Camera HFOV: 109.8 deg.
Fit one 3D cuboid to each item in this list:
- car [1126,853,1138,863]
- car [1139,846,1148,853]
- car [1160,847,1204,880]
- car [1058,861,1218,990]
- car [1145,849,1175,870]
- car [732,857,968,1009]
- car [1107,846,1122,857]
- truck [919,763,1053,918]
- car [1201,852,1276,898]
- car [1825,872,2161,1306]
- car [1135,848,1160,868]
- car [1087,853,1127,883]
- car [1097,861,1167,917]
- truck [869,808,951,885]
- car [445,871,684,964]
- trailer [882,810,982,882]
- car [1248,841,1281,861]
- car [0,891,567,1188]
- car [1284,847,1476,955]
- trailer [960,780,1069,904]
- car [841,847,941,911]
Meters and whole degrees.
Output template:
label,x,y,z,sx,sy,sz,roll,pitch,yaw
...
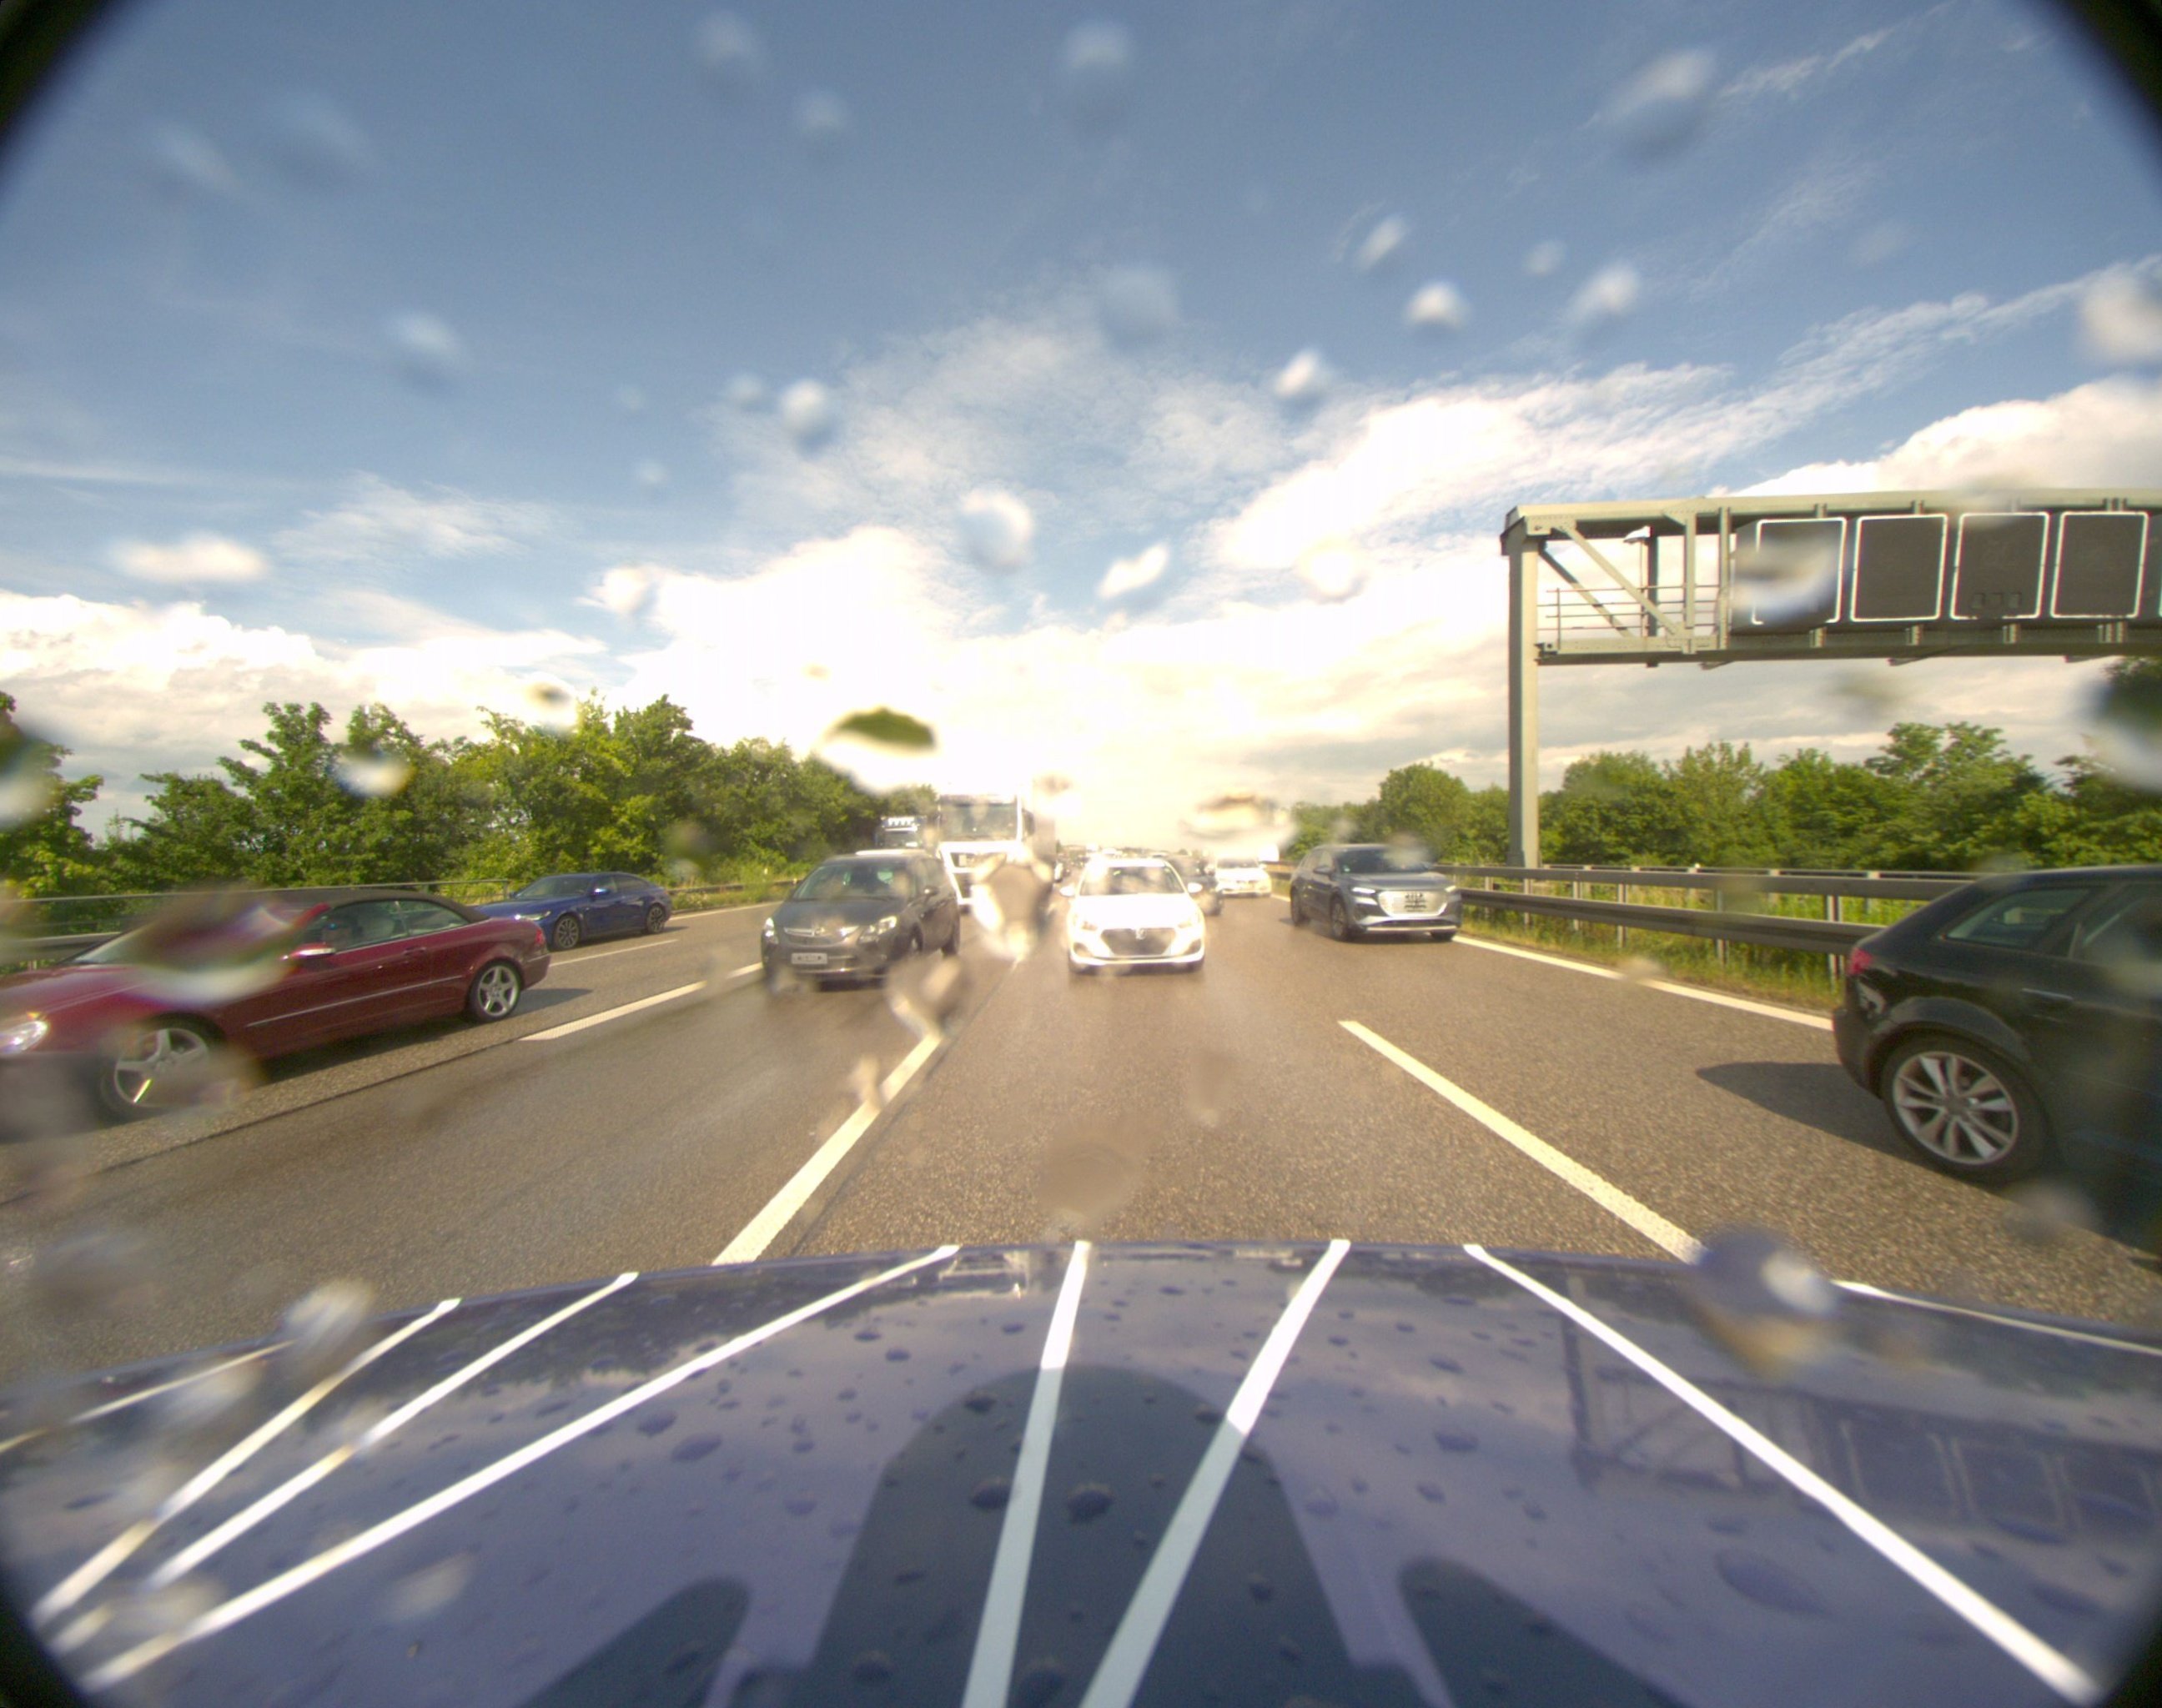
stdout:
label,x,y,z,sx,sy,sz,roll,pitch,yaw
car,9.526,0.676,142.855,1.998,1.687,3.999,-3,1,1
car,16.755,-1.234,203.142,1.998,1.768,4.461,-1,0,1
car,5.837,0.511,44.133,1.998,1.739,3.999,-3,1,1
car,0.720,0.876,11.376,1.886,1.446,4.548,-1,0,1
car,6.354,0.420,61.280,1.998,1.471,3.999,-3,1,1
car,-2.911,0.893,10.699,1.883,1.638,4.396,-1,0,1
car,5.152,-0.404,117.478,1.998,1.687,3.999,-3,1,1
truck,-2.688,-0.389,24.110,2.817,4.083,7.446,-2,1,3
car,5.342,0.658,26.247,1.771,1.371,3.999,-1,1,1
car,4.602,0.845,1.767,1.771,1.417,4.139,-2,1,2
car,6.197,0.348,70.978,1.998,1.687,3.999,-3,1,1
car,1.360,0.709,40.929,1.998,1.477,3.999,-1,1,1
car,1.335,0.900,21.416,1.729,1.330,4.287,-1,0,1
truck,-9.386,-0.435,42.434,3.112,3.931,5.866,-1,1,1
car,-10.375,1.184,15.790,1.791,1.454,4.505,-2,1,1
trailer,-9.293,-0.549,50.188,3.112,3.931,16.339,-1,1,1
car,18.446,-0.314,76.545,1.998,2.002,5.558,0,0,0
car,-6.736,1.147,6.285,1.756,1.402,4.511,-2,0,2
car,5.070,0.697,13.576,1.875,1.597,4.229,-1,0,2
trailer,-2.332,-0.446,31.336,2.790,4.082,11.539,-2,1,3
car,-6.193,0.728,25.463,1.955,1.875,5.167,-1,1,1
